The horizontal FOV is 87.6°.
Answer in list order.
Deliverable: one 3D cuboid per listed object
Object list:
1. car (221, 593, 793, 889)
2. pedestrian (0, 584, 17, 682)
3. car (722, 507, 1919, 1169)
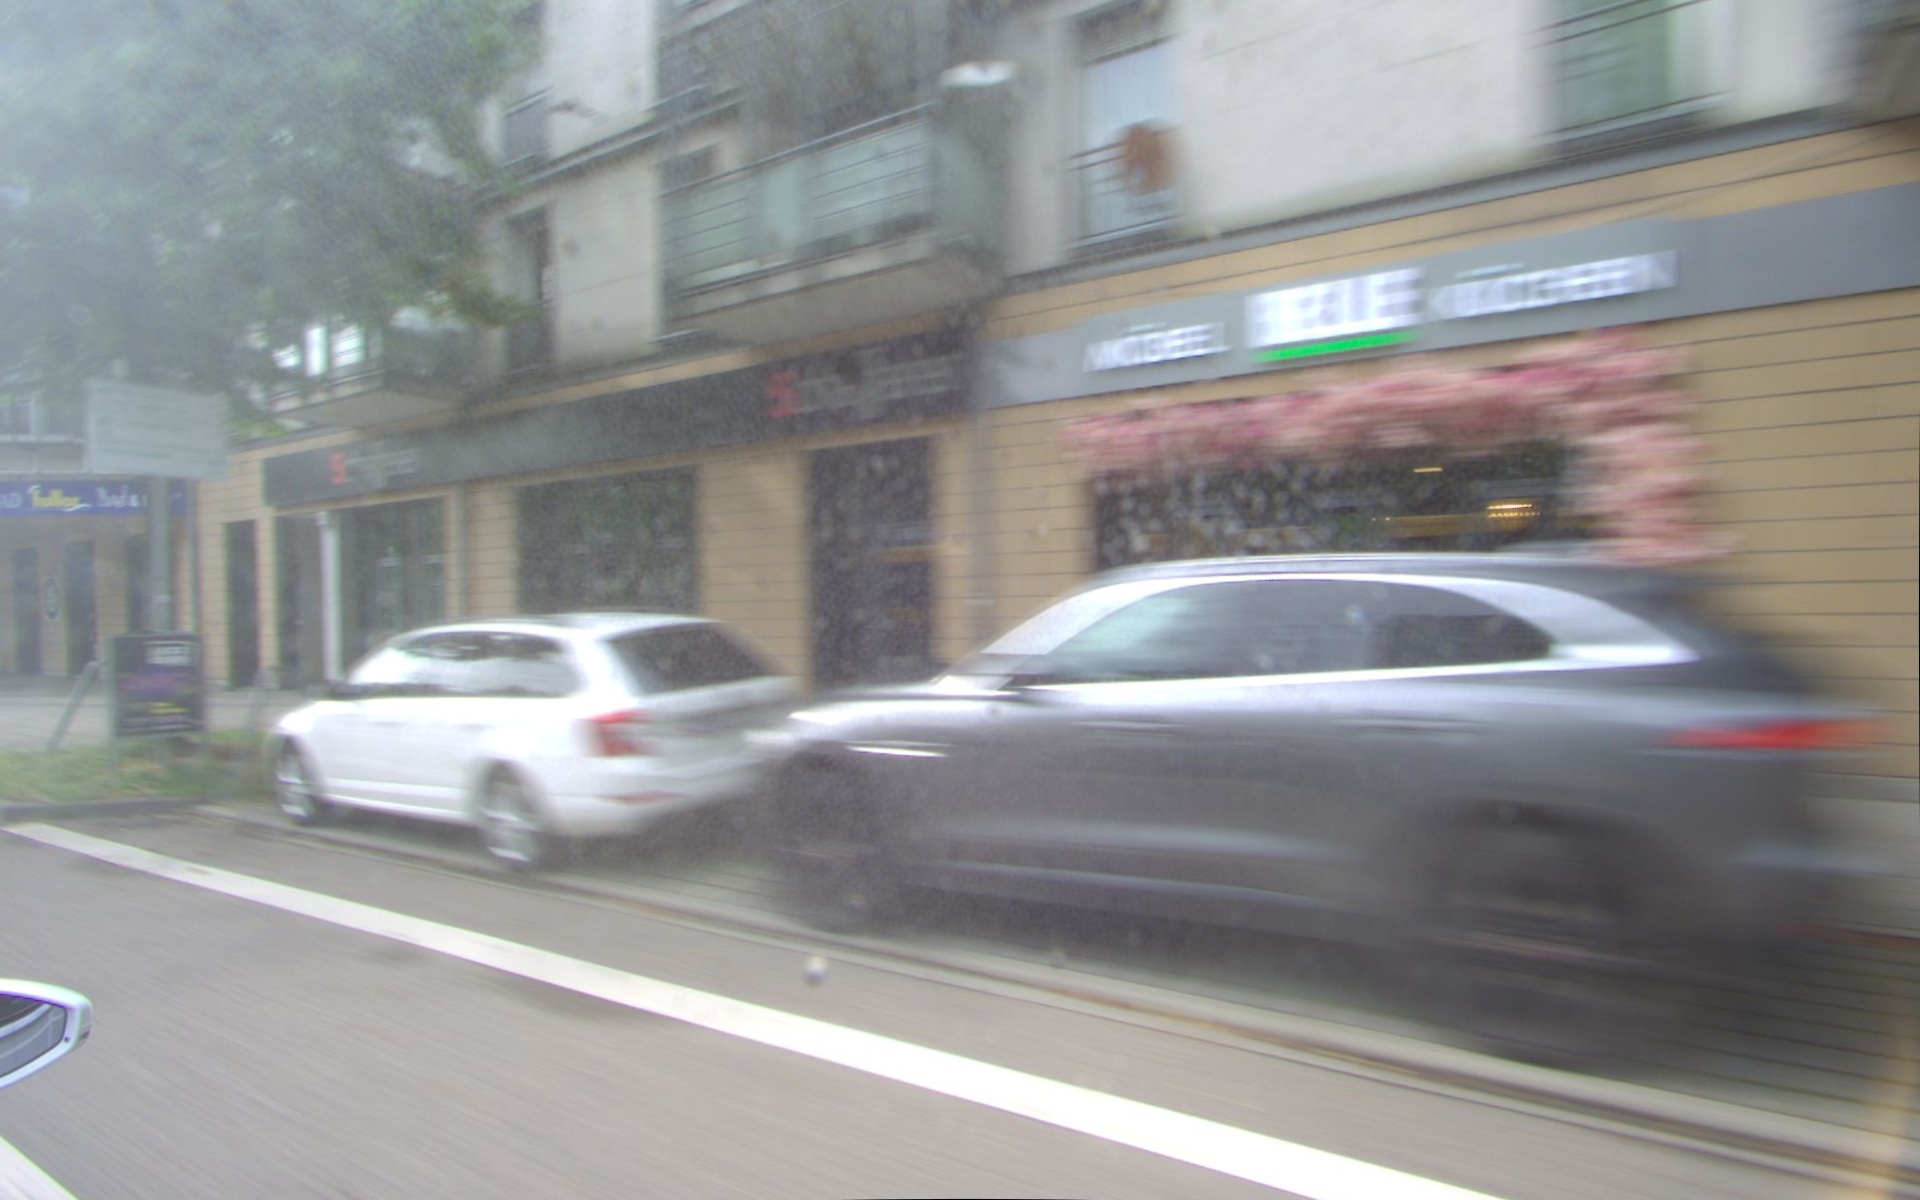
[{"bbox_3d":[-3.404,0.783,7.231,4.329,1.519,1.671,-1,2,34],"label":"car"},{"bbox_3d":[-19.159,0.654,19.715,0.727,1.916,0.673,0,1,33],"label":"pedestrian"},{"bbox_3d":[1.325,0.627,4.303,4.642,1.740,1.708,-1,2,31],"label":"car"}]
